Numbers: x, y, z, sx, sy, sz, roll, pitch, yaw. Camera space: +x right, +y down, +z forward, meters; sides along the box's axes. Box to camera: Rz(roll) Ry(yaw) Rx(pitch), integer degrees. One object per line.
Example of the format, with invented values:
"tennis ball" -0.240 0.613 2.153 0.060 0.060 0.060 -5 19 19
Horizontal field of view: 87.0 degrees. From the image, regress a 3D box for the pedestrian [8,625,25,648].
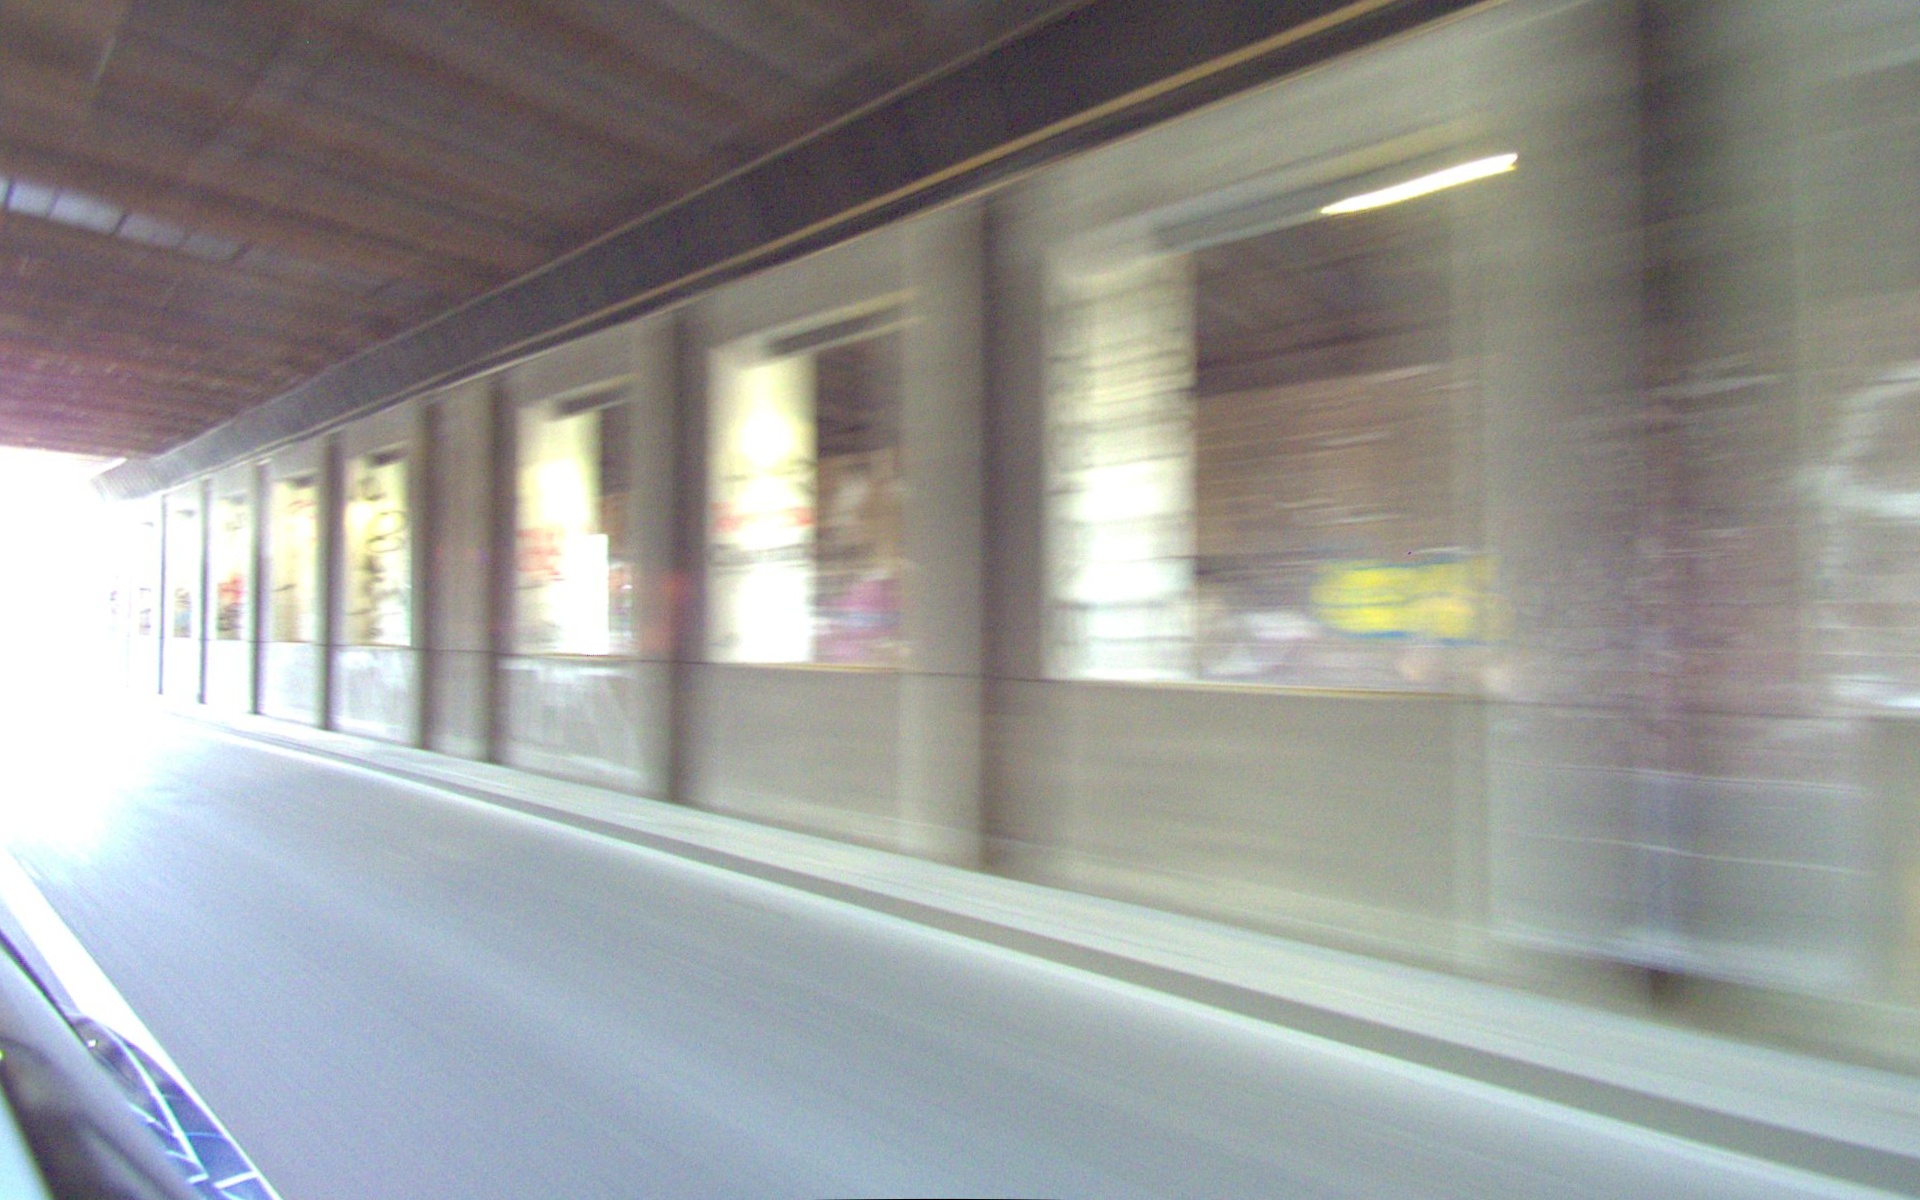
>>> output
"pedestrian" -68.124 2.651 73.068 1.181 1.641 0.823 -2 -1 44
